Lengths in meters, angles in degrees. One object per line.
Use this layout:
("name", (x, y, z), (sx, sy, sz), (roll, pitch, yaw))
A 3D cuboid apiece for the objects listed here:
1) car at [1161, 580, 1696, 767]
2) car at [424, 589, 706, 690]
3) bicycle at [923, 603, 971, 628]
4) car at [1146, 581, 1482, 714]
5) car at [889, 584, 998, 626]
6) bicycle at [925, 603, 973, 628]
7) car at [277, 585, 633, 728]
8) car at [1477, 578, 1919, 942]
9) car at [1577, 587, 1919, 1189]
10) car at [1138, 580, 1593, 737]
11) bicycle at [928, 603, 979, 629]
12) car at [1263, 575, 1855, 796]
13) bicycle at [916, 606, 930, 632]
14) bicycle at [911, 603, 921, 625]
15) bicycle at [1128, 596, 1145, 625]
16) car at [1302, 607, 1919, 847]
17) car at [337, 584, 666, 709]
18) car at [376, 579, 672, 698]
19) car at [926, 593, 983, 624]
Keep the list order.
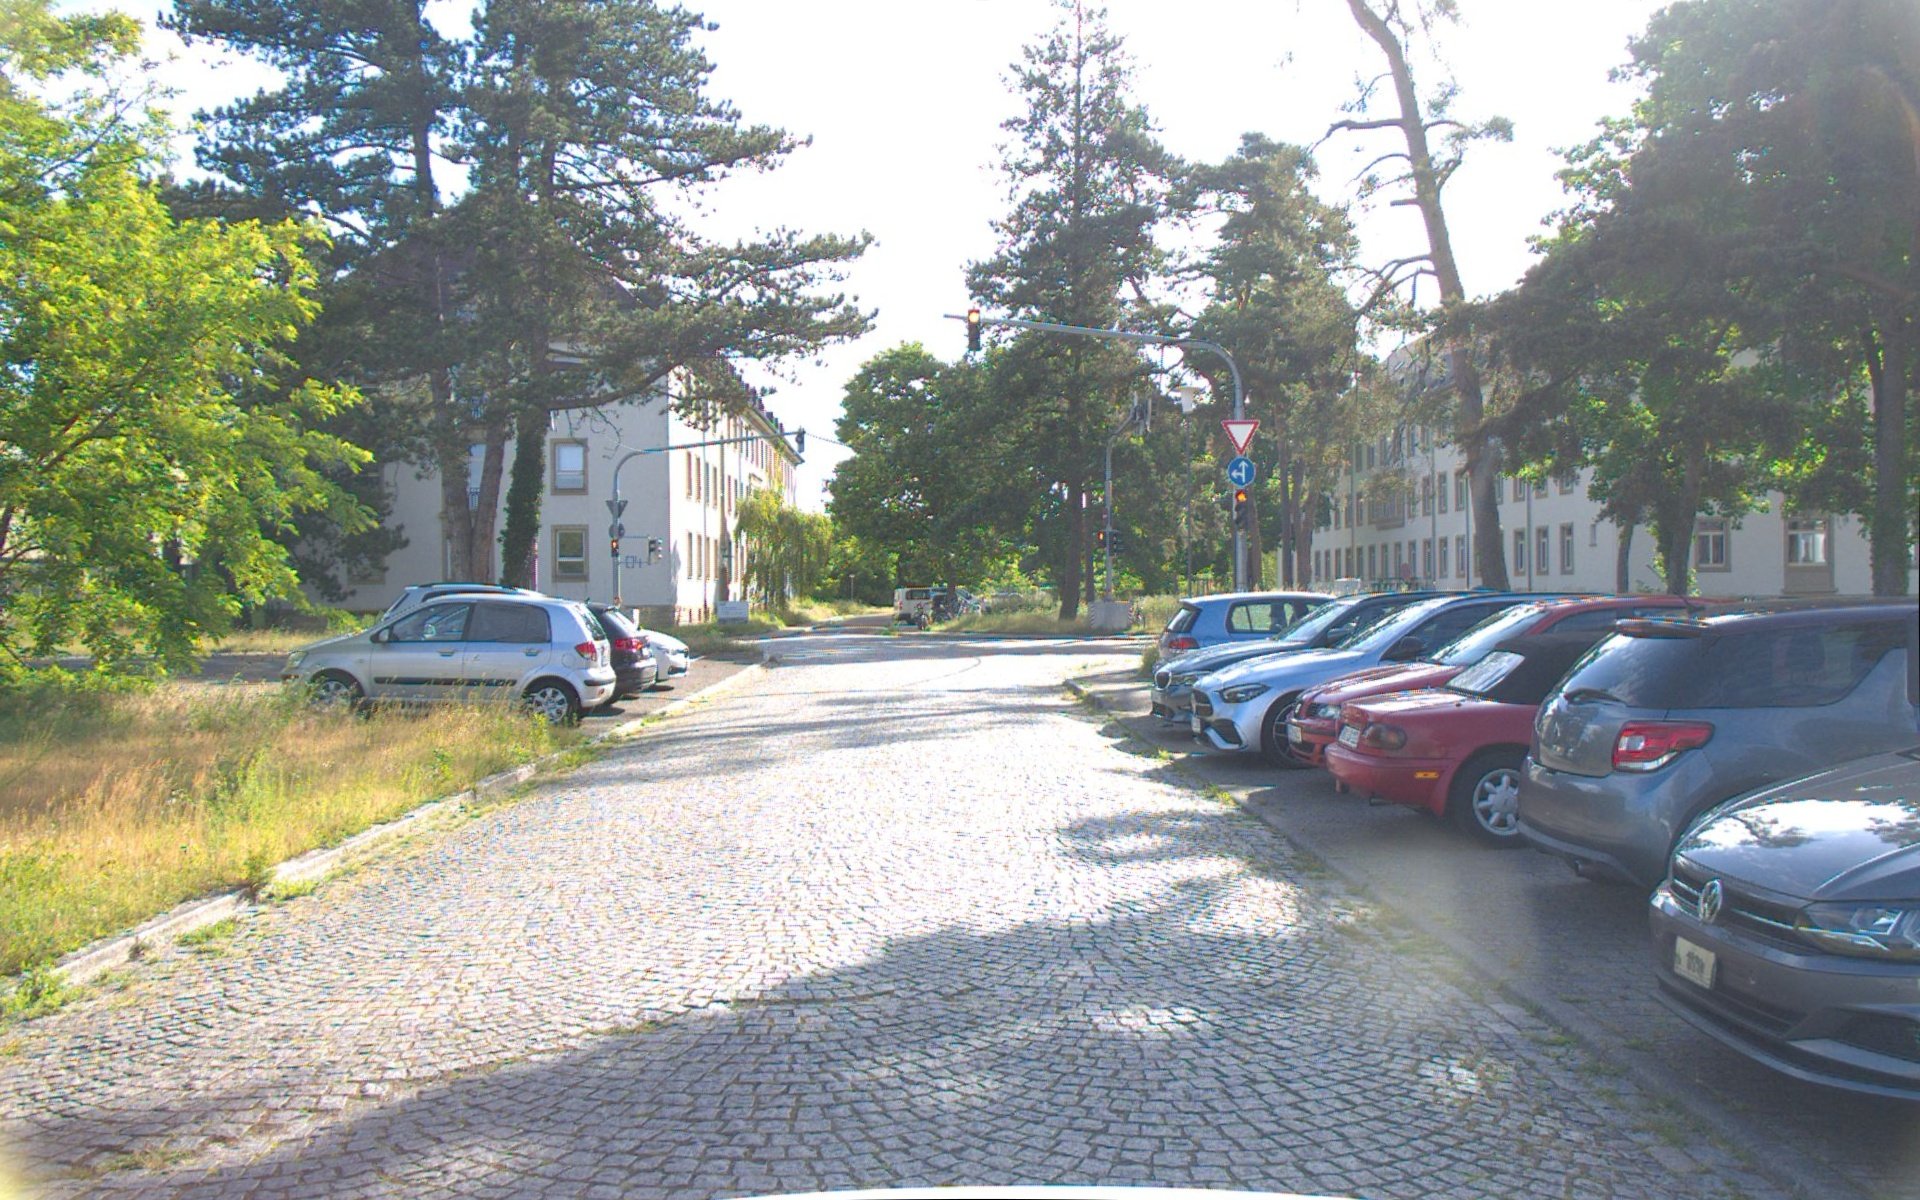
("car", (4.145, 0.621, 15.115), (4.342, 1.440, 1.780), (-2, 1, -1))
("car", (-6.444, 0.632, 27.379), (4.248, 1.494, 1.829), (2, 0, -5))
("bicycle", (-0.575, 0.677, 71.962), (1.990, 1.028, 0.626), (2, -1, -9))
("car", (4.335, 0.555, 20.615), (3.803, 1.440, 1.636), (-2, 1, -1))
("car", (-0.879, 0.262, 87.432), (5.439, 2.049, 1.989), (2, -1, -20))
("bicycle", (-0.482, 0.673, 71.082), (1.967, 1.028, 0.631), (2, -1, -9))
("car", (-5.821, 0.629, 19.408), (3.672, 1.513, 1.644), (2, 0, -4))
("car", (4.638, 0.649, 8.042), (3.632, 1.474, 1.816), (-2, 1, -1))
("car", (4.106, 0.679, 5.161), (3.632, 1.474, 1.856), (-2, 1, -1))
("car", (4.268, 0.593, 17.833), (4.467, 1.440, 1.636), (-2, 1, -1))
("bicycle", (-0.286, 0.665, 69.416), (2.070, 1.028, 0.619), (2, -1, -9))
("car", (4.581, 0.621, 13.041), (4.044, 1.474, 1.636), (-2, 1, -1))
("bicycle", (-1.471, 0.743, 65.722), (0.458, 1.028, 1.584), (1, -1, -5))
("bicycle", (-2.109, 0.655, 78.983), (0.409, 1.028, 1.483), (1, -1, -1))
("bicycle", (6.122, 0.368, 57.436), (0.295, 0.977, 1.584), (1, -1, -5))
("car", (4.214, 0.752, 10.633), (3.632, 1.244, 1.746), (-2, 1, -1))
("car", (-6.003, 0.590, 22.038), (3.908, 1.506, 1.802), (2, 0, -4))
("car", (-6.493, 0.556, 24.988), (4.000, 1.621, 1.884), (2, 0, -4))
("car", (-0.281, 0.426, 83.851), (2.728, 1.492, 1.669), (2, -1, -6))
